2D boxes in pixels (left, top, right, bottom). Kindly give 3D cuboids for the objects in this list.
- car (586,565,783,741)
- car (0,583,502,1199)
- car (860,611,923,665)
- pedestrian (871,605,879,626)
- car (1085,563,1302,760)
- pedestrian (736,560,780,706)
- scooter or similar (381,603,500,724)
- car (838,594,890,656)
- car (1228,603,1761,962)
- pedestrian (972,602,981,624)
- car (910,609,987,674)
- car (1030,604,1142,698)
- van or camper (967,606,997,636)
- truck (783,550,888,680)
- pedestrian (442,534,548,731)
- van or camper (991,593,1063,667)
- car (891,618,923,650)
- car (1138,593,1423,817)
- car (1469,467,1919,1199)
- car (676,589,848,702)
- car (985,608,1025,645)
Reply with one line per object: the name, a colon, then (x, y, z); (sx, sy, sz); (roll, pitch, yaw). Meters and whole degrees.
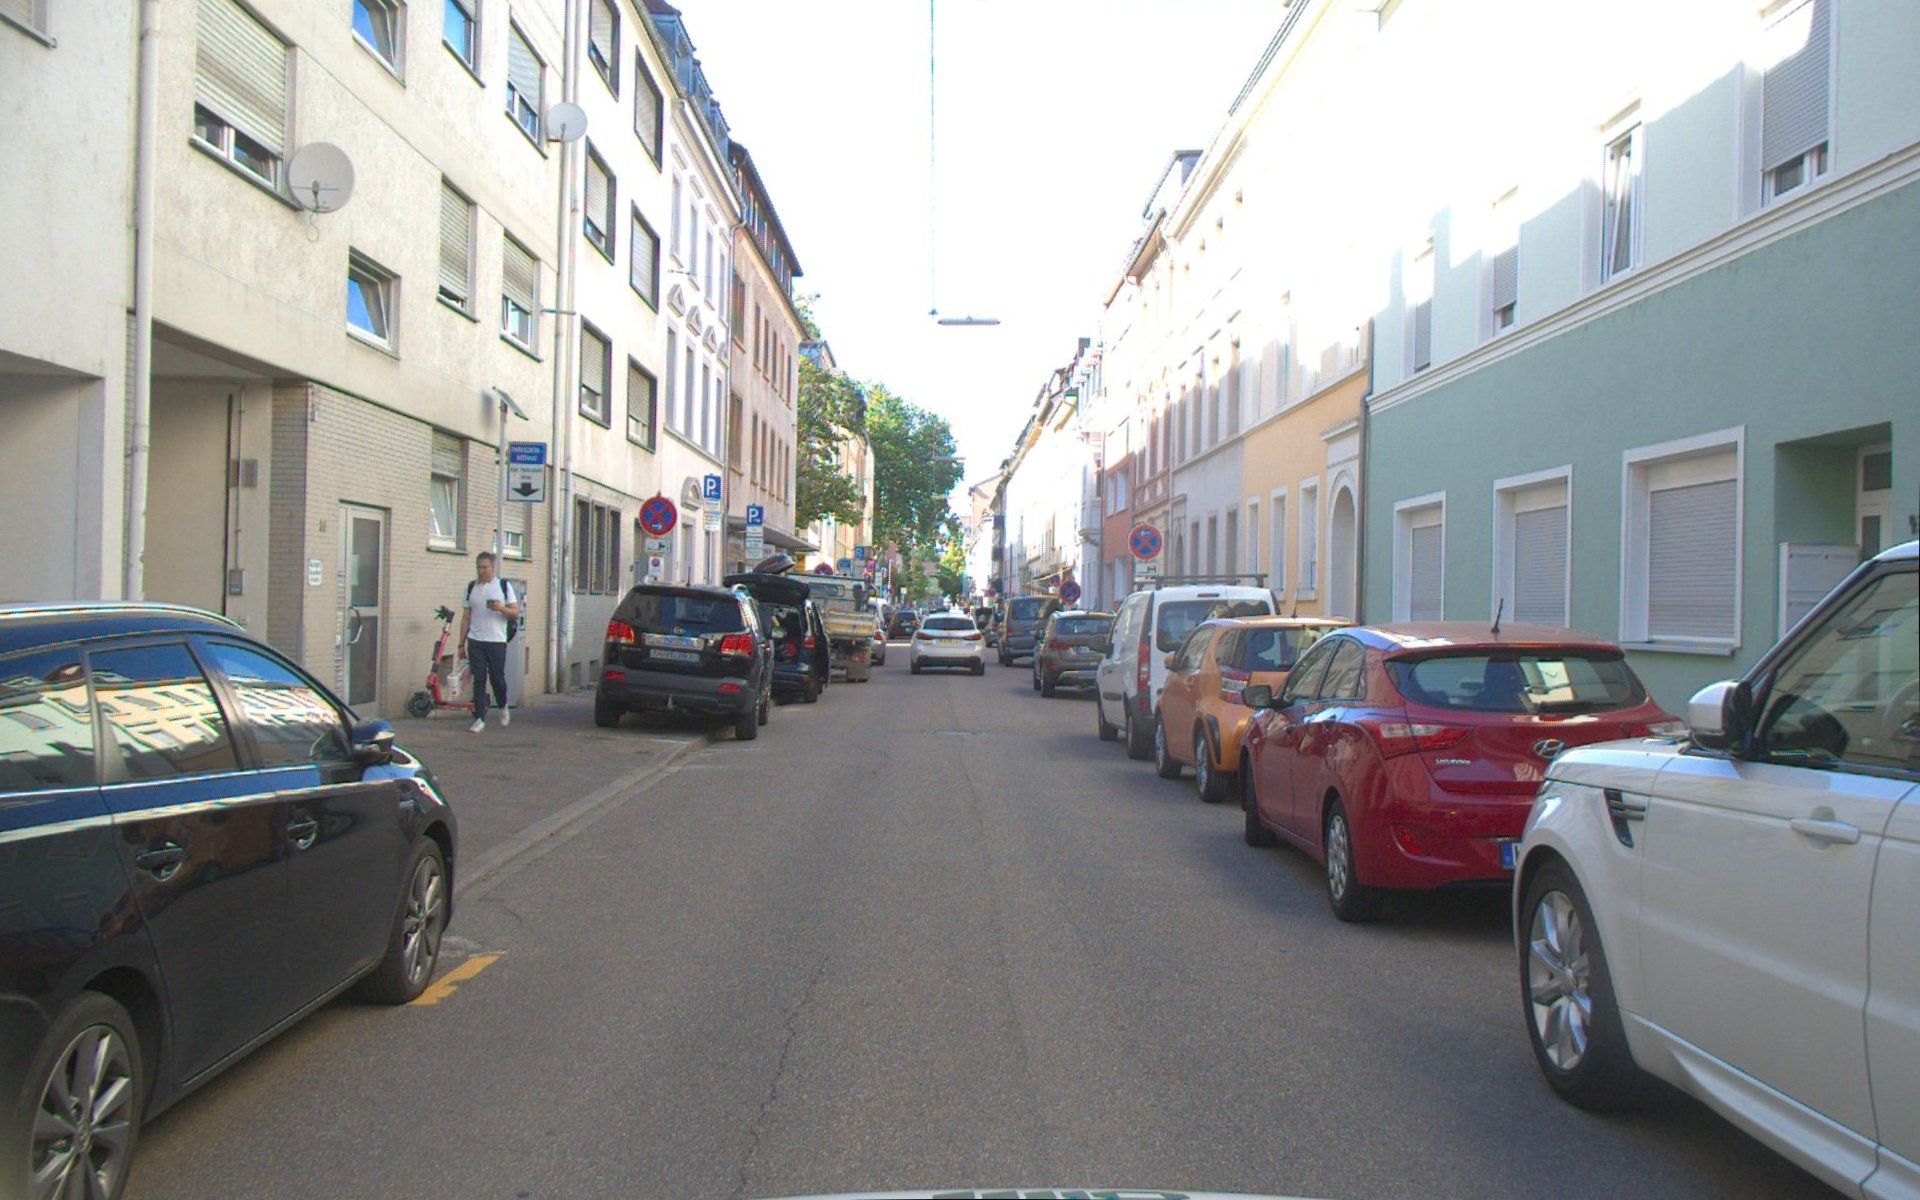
car: (-3.225, 0.558, 20.209); (1.843, 1.786, 4.539); (4, 0, -4)
car: (-2.708, 0.692, 4.768); (1.672, 1.475, 4.300); (2, 0, -2)
car: (-1.976, 1.054, 47.766); (1.723, 1.440, 3.998); (-1, 0, -2)
pedestrian: (-6.254, 1.129, 121.653); (0.614, 1.490, 0.575); (0, -2, -1)
car: (2.553, 0.651, 19.068); (1.746, 1.996, 4.334); (1, -1, -2)
pedestrian: (-3.197, 0.526, 26.209); (0.606, 2.268, 0.688); (0, -2, -1)
scooter or similar: (-5.728, 0.681, 18.275); (0.430, 1.300, 1.227); (0, -1, 40)
car: (-3.115, 0.790, 53.685); (1.614, 1.900, 3.997); (1, 0, -3)
car: (2.776, 0.841, 9.585); (1.707, 1.596, 4.031); (1, 0, -1)
pedestrian: (1.107, 0.898, 113.224); (0.614, 1.490, 0.575); (0, -2, -1)
car: (-0.268, 0.989, 40.963); (1.796, 1.512, 4.056); (1, 0, 0)
car: (2.332, 0.907, 31.593); (1.704, 1.604, 4.376); (1, 0, -1)
van or camper: (1.471, 1.417, 112.181); (1.953, 1.960, 3.999); (0, -2, -1)
truck: (-2.815, 0.381, 36.783); (2.115, 2.636, 6.241); (0, -1, -5)
pedestrian: (-4.858, 0.338, 17.316); (0.790, 1.967, 0.690); (4, -1, -1)
van or camper: (1.948, 0.883, 49.478); (1.740, 2.072, 4.567); (-1, -1, -3)
car: (-2.838, 1.813, 88.767); (1.591, 1.625, 3.579); (2, 0, -1)
car: (2.663, 0.813, 14.540); (1.549, 1.660, 3.679); (2, 0, -3)
car: (2.890, 0.656, 3.576); (1.964, 1.815, 4.938); (1, 0, -1)
car: (-3.319, 0.736, 28.836); (2.391, 1.735, 5.241); (1, 0, -1)
car: (1.996, 1.159, 74.001); (1.613, 1.604, 3.678); (1, 0, 0)
